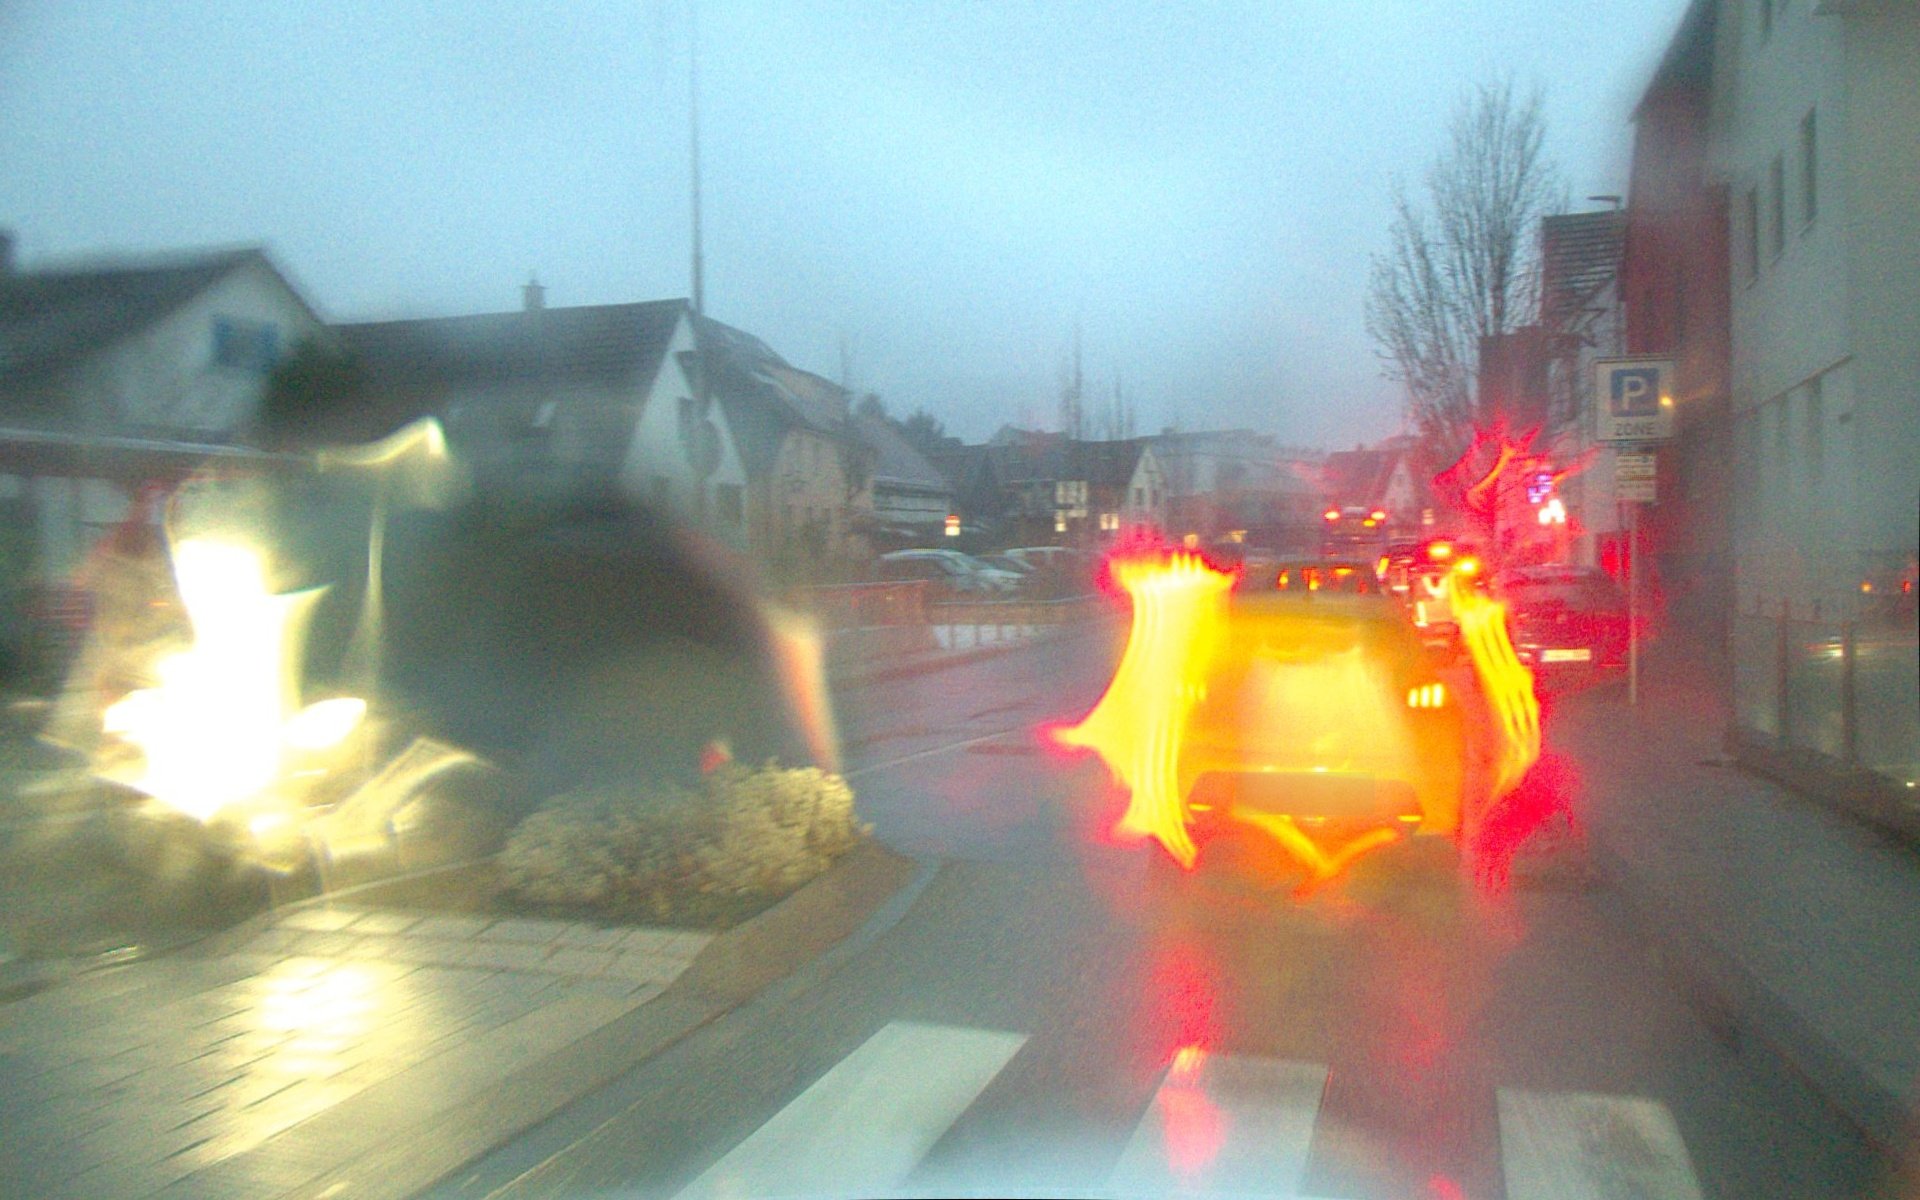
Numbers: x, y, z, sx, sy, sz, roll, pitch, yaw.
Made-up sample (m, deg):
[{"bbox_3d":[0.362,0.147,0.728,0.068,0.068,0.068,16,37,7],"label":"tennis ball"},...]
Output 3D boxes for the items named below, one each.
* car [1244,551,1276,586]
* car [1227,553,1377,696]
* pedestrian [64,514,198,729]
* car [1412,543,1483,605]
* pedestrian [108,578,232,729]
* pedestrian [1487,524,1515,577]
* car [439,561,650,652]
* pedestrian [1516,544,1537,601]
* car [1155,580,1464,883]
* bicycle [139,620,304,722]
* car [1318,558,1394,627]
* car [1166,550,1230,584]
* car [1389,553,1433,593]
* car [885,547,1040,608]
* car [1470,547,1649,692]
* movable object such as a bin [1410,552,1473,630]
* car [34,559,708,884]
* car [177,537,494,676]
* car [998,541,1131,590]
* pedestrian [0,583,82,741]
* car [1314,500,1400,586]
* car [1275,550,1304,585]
[{"bbox_3d":[18.903,-1.975,104.166,1.878,2.063,3.978,1,0,12],"label":"car"},{"bbox_3d":[4.490,0.237,21.504,1.729,1.656,3.589,1,2,13],"label":"car"},{"bbox_3d":[-7.037,0.162,14.065,0.732,1.772,0.688,1,2,14],"label":"pedestrian"},{"bbox_3d":[14.331,-0.781,48.763,1.698,1.721,4.390,-1,1,13],"label":"car"},{"bbox_3d":[-7.121,0.461,14.929,0.671,1.293,0.751,1,2,18],"label":"pedestrian"},{"bbox_3d":[18.194,-1.660,55.638,0.698,1.744,1.033,-1,2,27],"label":"pedestrian"},{"bbox_3d":[-7.709,0.063,31.182,1.764,1.508,4.575,-3,0,16],"label":"car"},{"bbox_3d":[17.010,-0.829,49.677,0.518,1.682,0.953,1,-1,23],"label":"pedestrian"},{"bbox_3d":[2.119,0.641,9.927,1.529,1.437,3.021,1,2,14],"label":"car"},{"bbox_3d":[-8.241,0.767,18.521,0.461,1.027,1.736,-1,1,30],"label":"bicycle"},{"bbox_3d":[8.505,-0.194,35.541,1.508,1.354,3.314,1,2,13],"label":"car"},{"bbox_3d":[16.061,-2.186,111.788,1.974,2.204,4.338,1,0,-32],"label":"car"},{"bbox_3d":[21.741,-1.322,79.788,1.955,1.897,4.087,0,1,14],"label":"car"},{"bbox_3d":[0.068,-0.603,43.376,3.715,1.549,1.715,0,1,20],"label":"car"},{"bbox_3d":[7.280,0.167,20.428,1.692,1.490,4.202,-3,1,16],"label":"car"},{"bbox_3d":[9.634,-0.189,33.157,1.105,1.445,1.419,-4,1,16],"label":"movable object such as a bin"},{"bbox_3d":[-3.209,0.529,9.887,1.667,1.529,3.899,0,1,21],"label":"car"},{"bbox_3d":[-8.960,0.022,24.210,1.718,1.730,4.567,-4,1,19],"label":"car"},{"bbox_3d":[3.756,-1.232,59.230,4.526,1.696,2.002,0,1,11],"label":"car"},{"bbox_3d":[-7.759,0.481,13.192,0.968,1.178,0.902,1,3,23],"label":"pedestrian"},{"bbox_3d":[15.564,-2.168,65.182,3.123,3.084,6.310,1,0,12],"label":"car"},{"bbox_3d":[22.228,-2.153,111.482,1.878,2.254,3.978,1,0,12],"label":"car"}]
